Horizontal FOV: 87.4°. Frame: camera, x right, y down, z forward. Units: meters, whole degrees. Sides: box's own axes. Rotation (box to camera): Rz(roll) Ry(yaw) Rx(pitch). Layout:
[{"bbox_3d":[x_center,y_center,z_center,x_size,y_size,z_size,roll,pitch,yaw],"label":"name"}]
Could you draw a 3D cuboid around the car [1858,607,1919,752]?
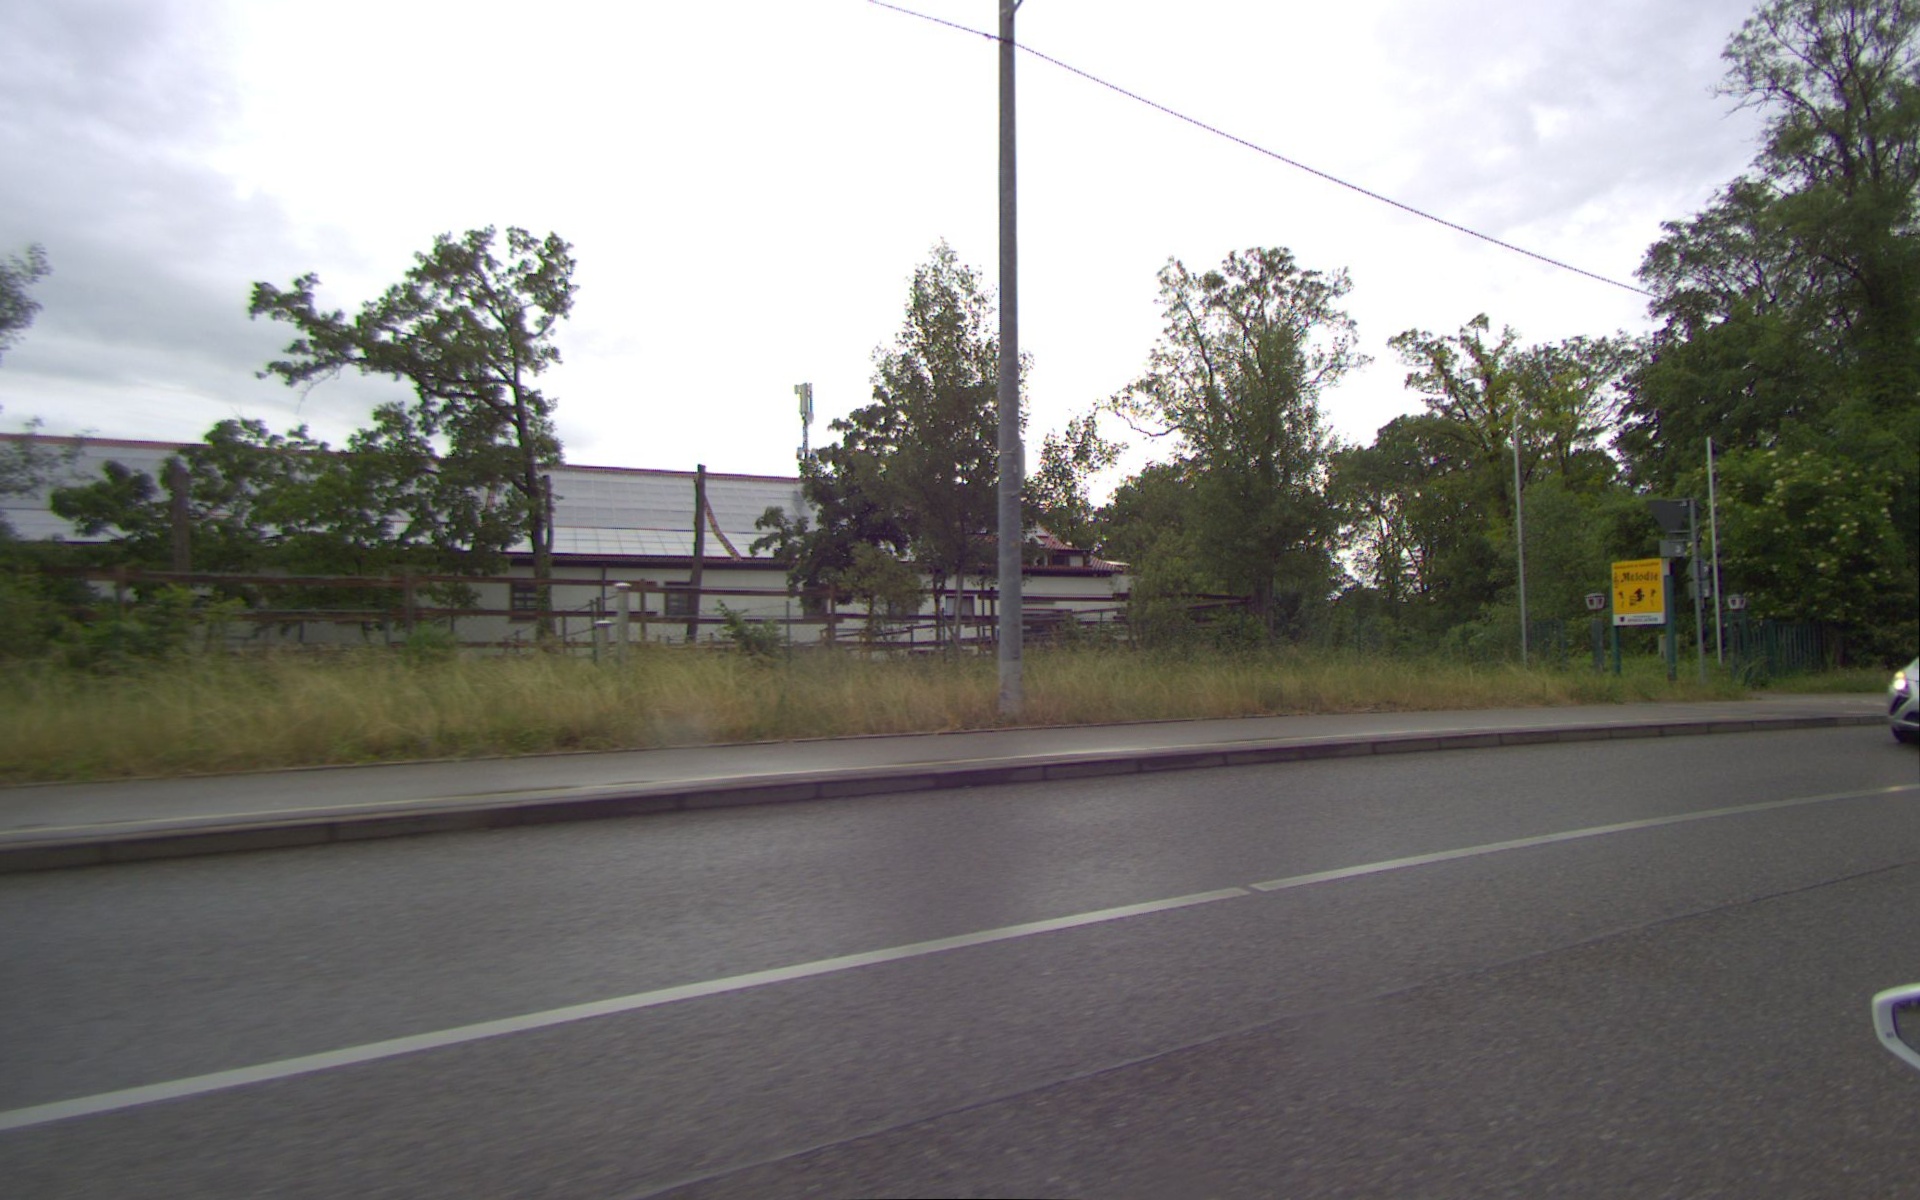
[{"bbox_3d":[13.032,0.954,11.996,4.355,1.636,1.755,1,0,-23],"label":"car"}]
